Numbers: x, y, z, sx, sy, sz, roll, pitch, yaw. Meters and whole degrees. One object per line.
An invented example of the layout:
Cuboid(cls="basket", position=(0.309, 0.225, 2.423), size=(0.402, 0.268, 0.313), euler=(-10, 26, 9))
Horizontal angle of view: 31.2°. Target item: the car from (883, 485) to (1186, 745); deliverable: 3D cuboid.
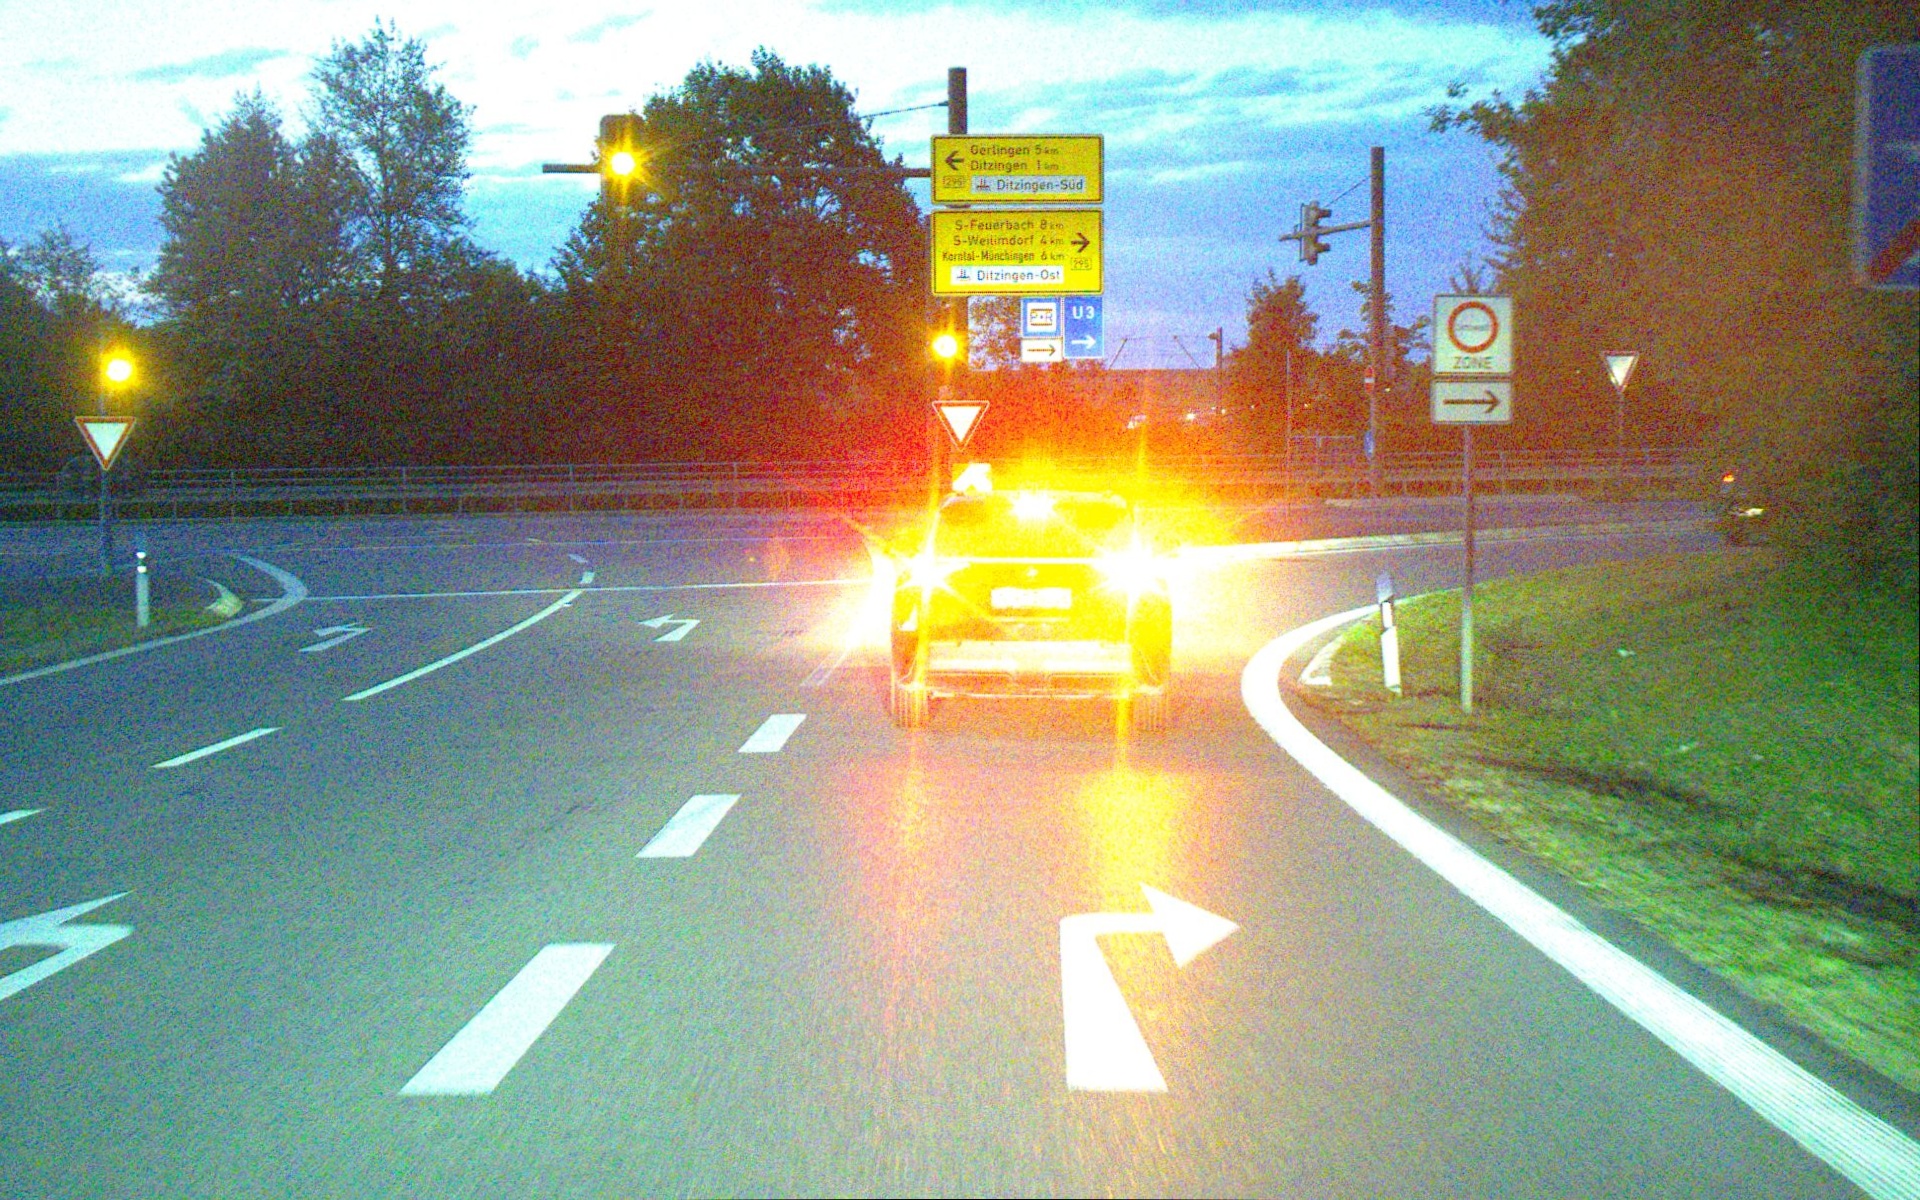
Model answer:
Cuboid(cls="car", position=(0.440, 0.020, 24.096), size=(1.901, 1.614, 4.557), euler=(1, 2, -1))
